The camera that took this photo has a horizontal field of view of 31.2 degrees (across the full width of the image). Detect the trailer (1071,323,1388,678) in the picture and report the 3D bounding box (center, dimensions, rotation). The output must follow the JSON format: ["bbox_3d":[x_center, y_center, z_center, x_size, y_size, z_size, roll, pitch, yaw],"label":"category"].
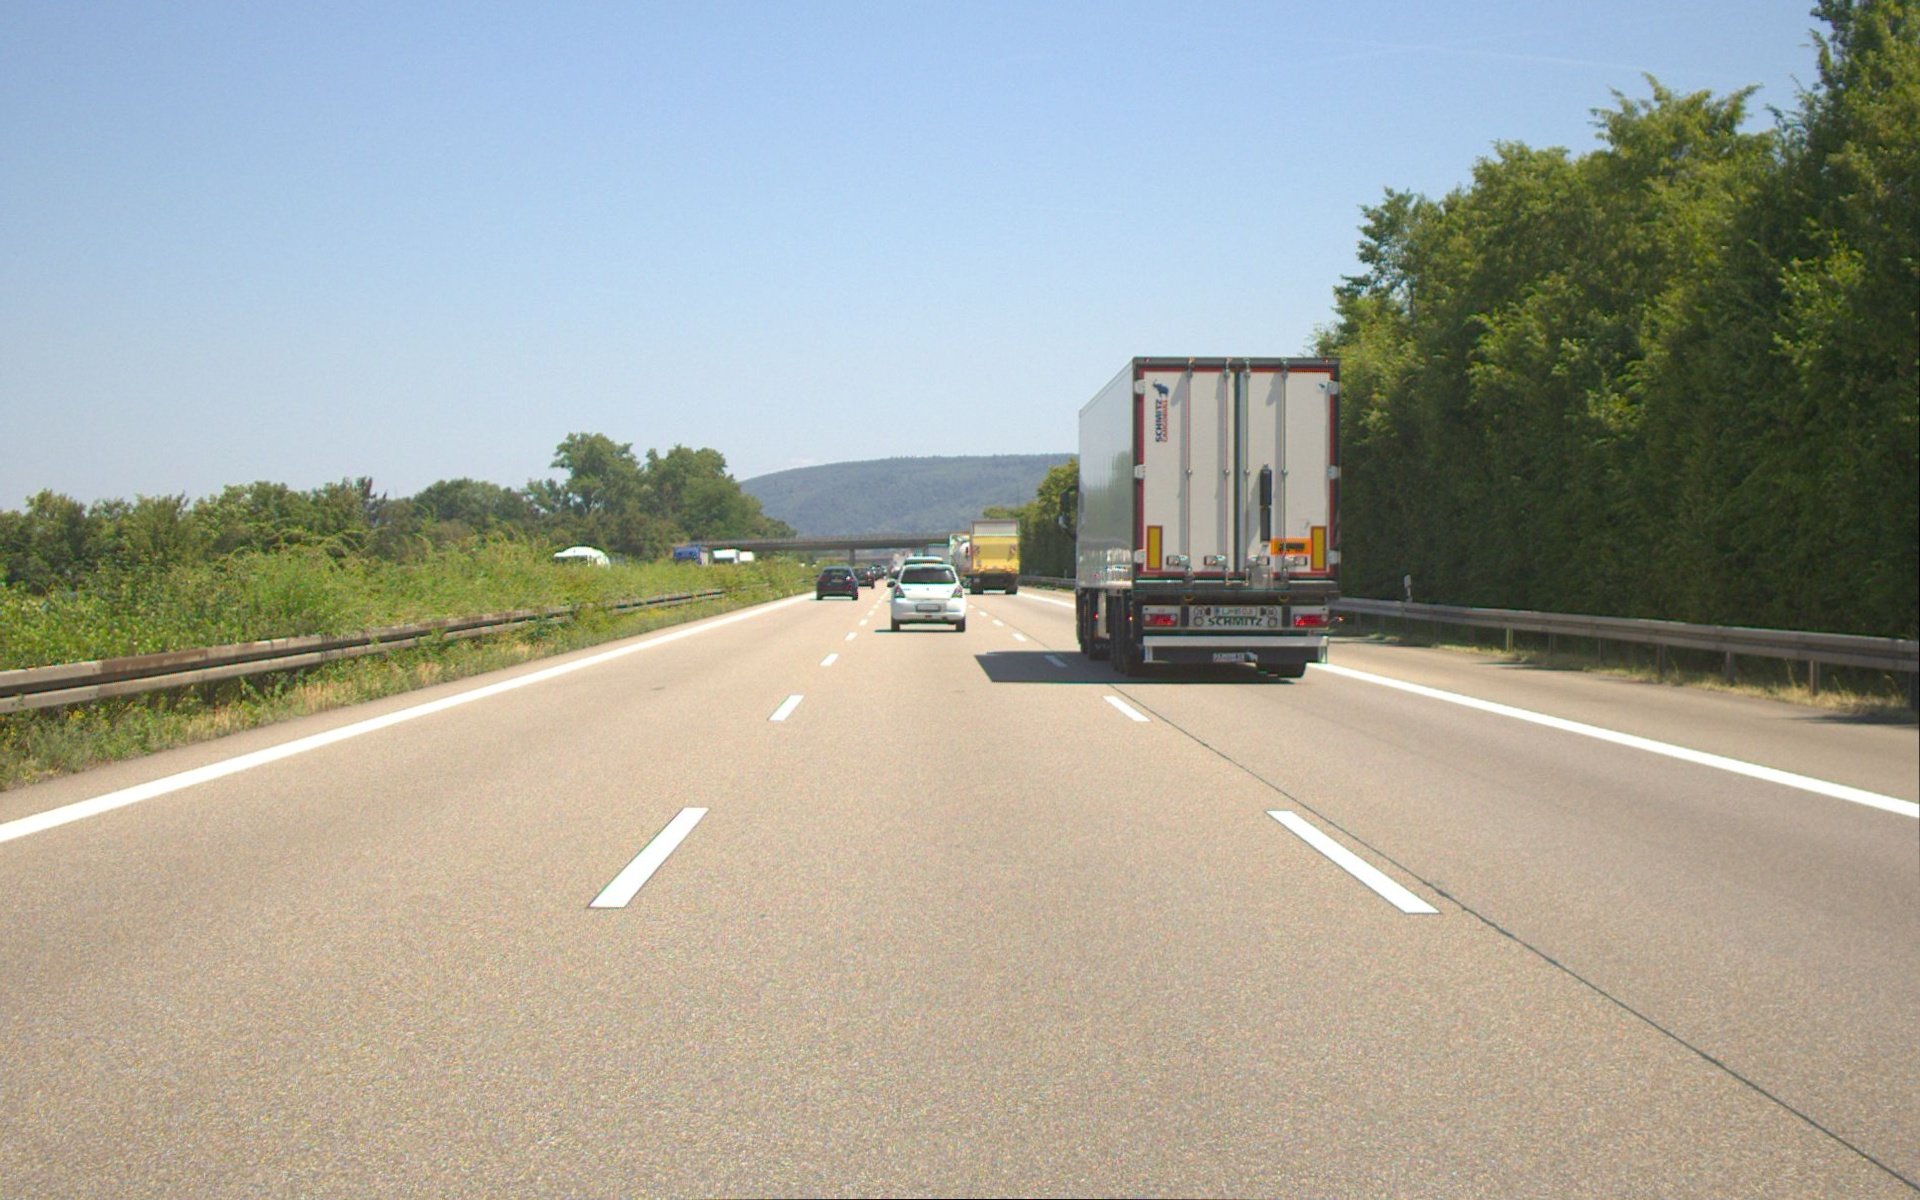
[{"bbox_3d":[3.548,-1.334,49.254,3.218,4.330,13.630,1,1,-1],"label":"trailer"}]

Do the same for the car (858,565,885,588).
[{"bbox_3d":[-6.046,-1.619,234.620,1.795,1.545,4.000,0,1,0],"label":"car"}]

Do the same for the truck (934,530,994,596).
[{"bbox_3d":[0.224,-2.666,248.943,4.271,4.636,13.860,0,1,0],"label":"truck"}]

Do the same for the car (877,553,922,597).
[{"bbox_3d":[-2.495,-1.038,140.990,1.786,1.706,4.000,1,1,-1],"label":"car"}]

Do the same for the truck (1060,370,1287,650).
[{"bbox_3d":[3.448,-1.459,57.238,3.218,4.330,6.591,1,1,-1],"label":"truck"}]

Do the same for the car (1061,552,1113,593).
[{"bbox_3d":[5.469,-1.200,147.926,1.993,1.706,4.000,-1,1,-1],"label":"car"}]

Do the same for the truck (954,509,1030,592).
[{"bbox_3d":[1.676,-2.719,189.594,3.871,4.330,13.861,1,1,0],"label":"truck"}]

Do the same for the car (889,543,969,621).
[{"bbox_3d":[-0.719,-0.433,77.835,1.732,1.678,4.000,-1,1,-1],"label":"car"}]

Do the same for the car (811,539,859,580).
[{"bbox_3d":[-5.400,-1.760,149.218,1.993,1.706,4.000,1,1,-1],"label":"car"}]
